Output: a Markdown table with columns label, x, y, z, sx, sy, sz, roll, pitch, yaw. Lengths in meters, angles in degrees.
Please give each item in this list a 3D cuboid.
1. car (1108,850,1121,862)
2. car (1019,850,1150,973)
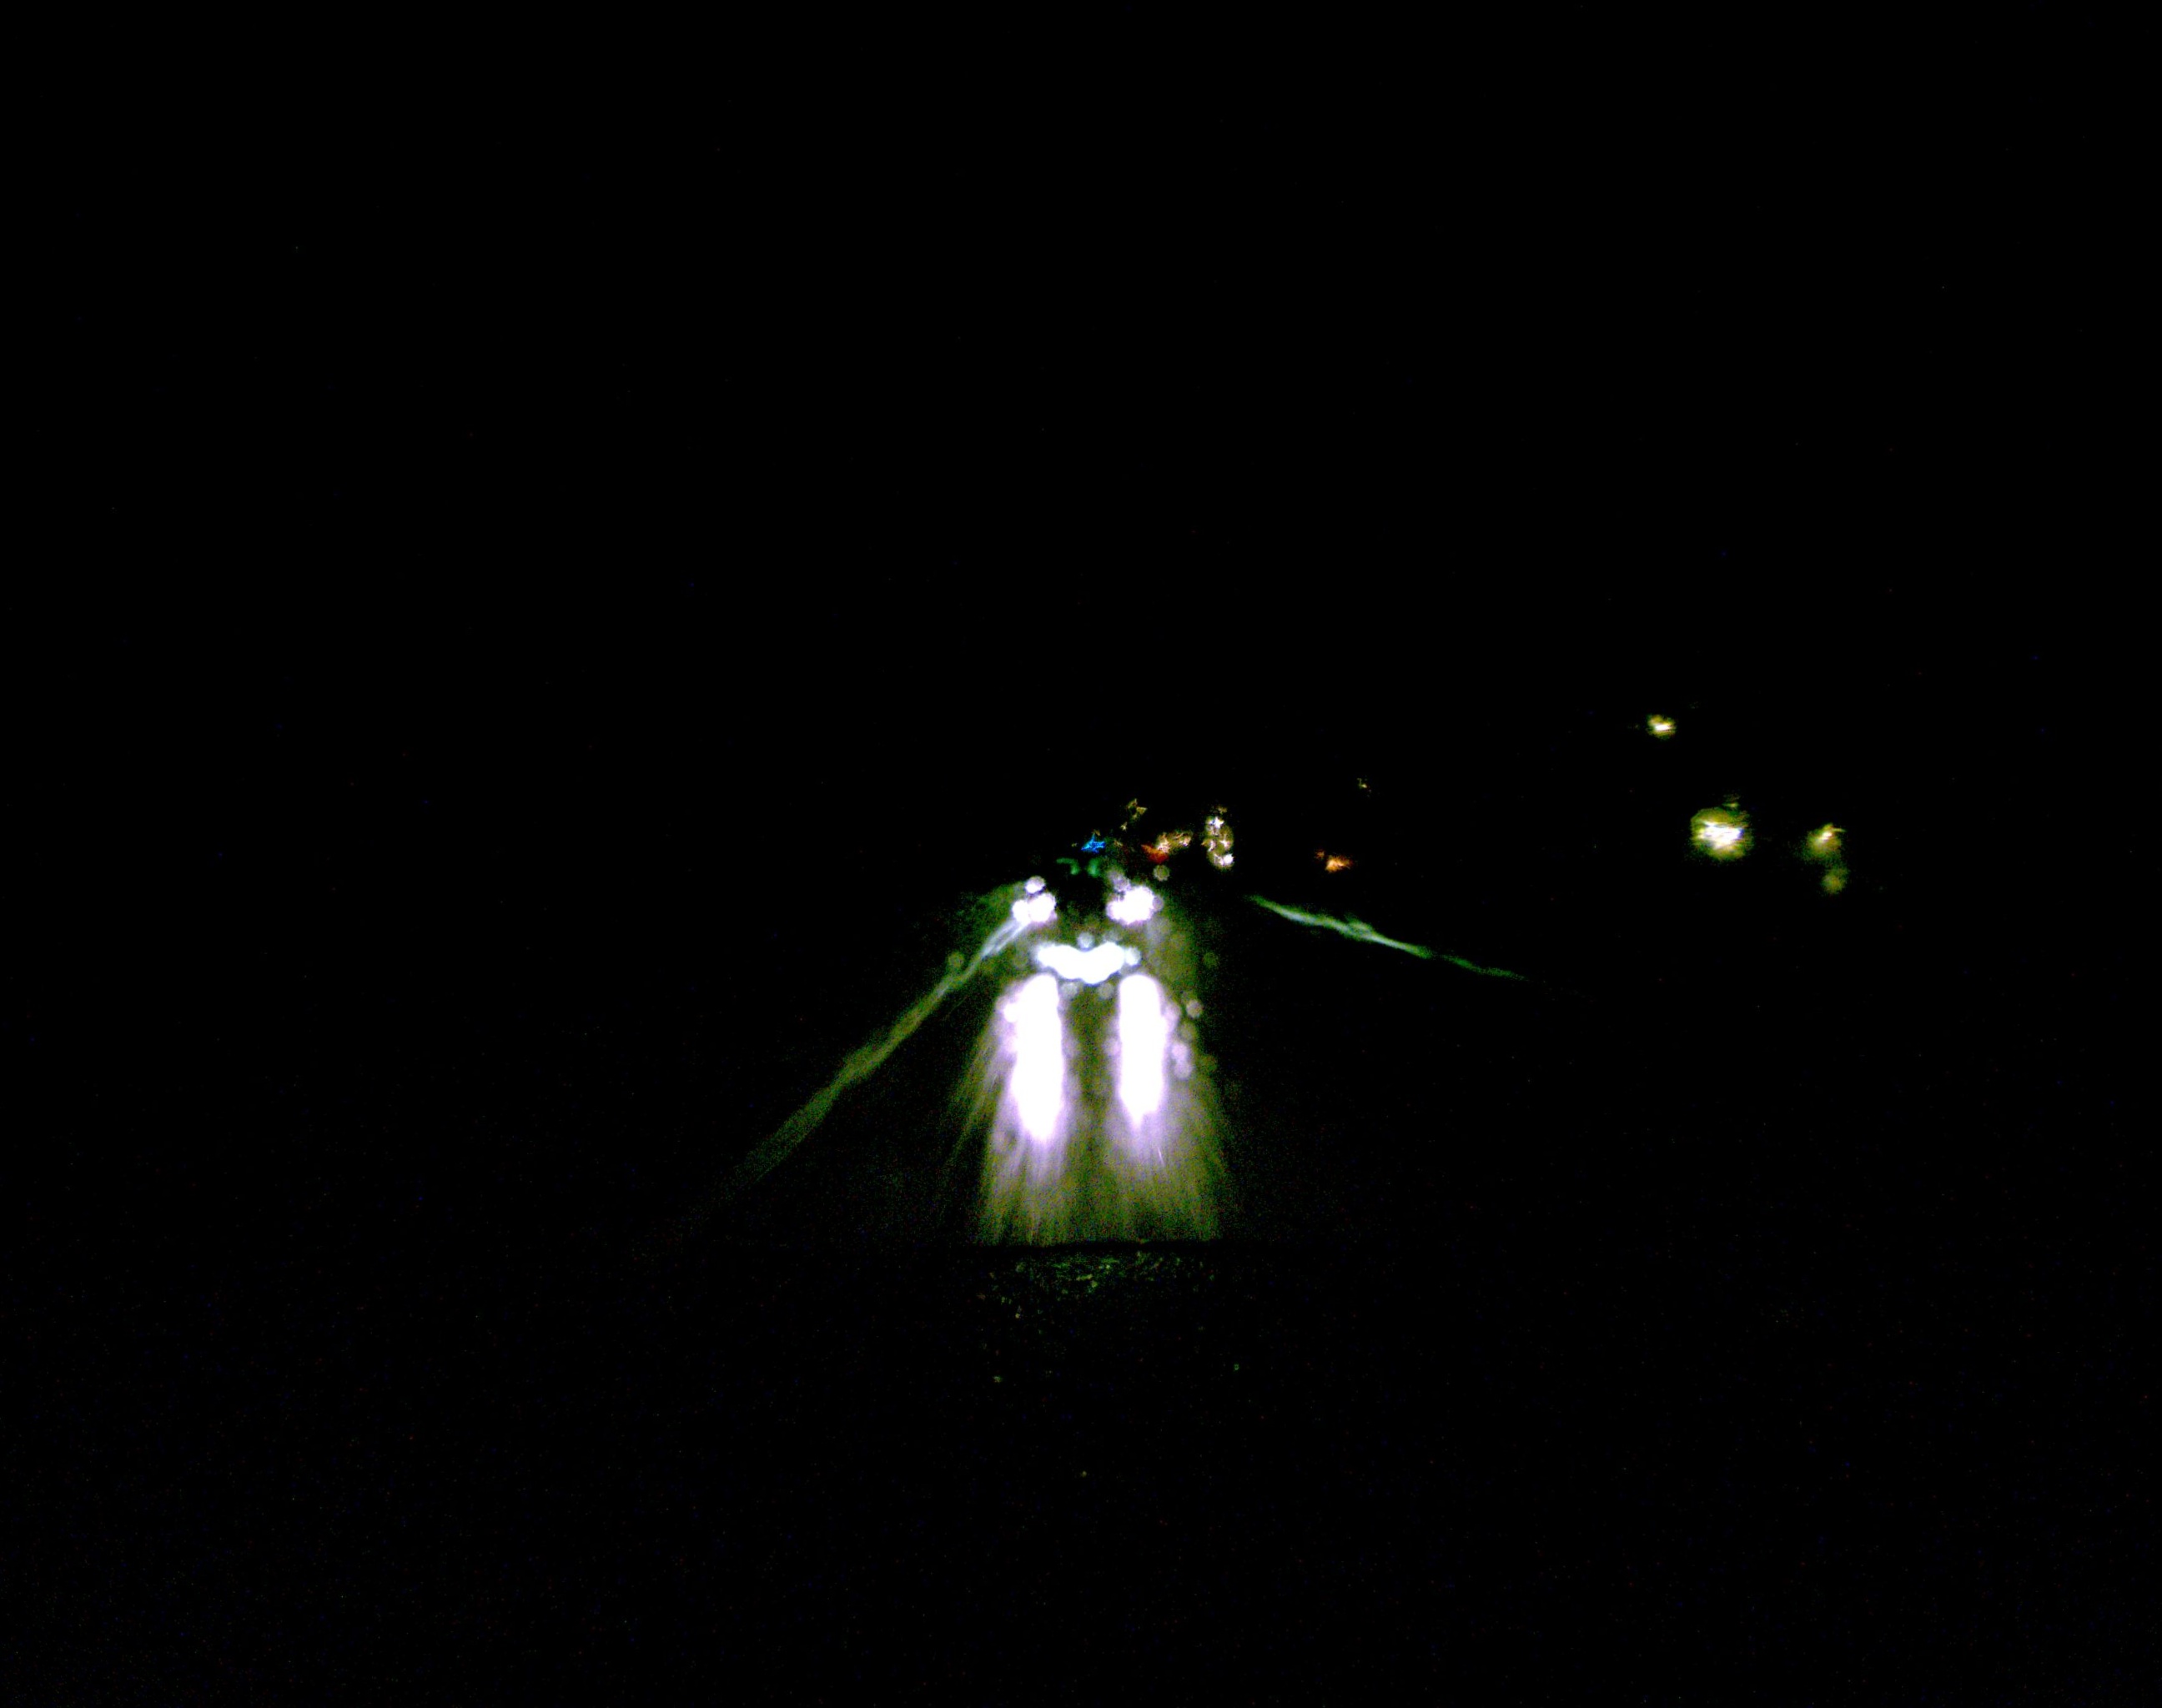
| label | x | y | z | sx | sy | sz | roll | pitch | yaw |
| --- | --- | --- | --- | --- | --- | --- | --- | --- | --- |
| car | 5.988 | 0.306 | 135.583 | 1.796 | 2.010 | 4.578 | 2 | 0 | -4 |
| car | 0.065 | 0.845 | 12.922 | 1.790 | 1.684 | 4.219 | -2 | -1 | 0 |
